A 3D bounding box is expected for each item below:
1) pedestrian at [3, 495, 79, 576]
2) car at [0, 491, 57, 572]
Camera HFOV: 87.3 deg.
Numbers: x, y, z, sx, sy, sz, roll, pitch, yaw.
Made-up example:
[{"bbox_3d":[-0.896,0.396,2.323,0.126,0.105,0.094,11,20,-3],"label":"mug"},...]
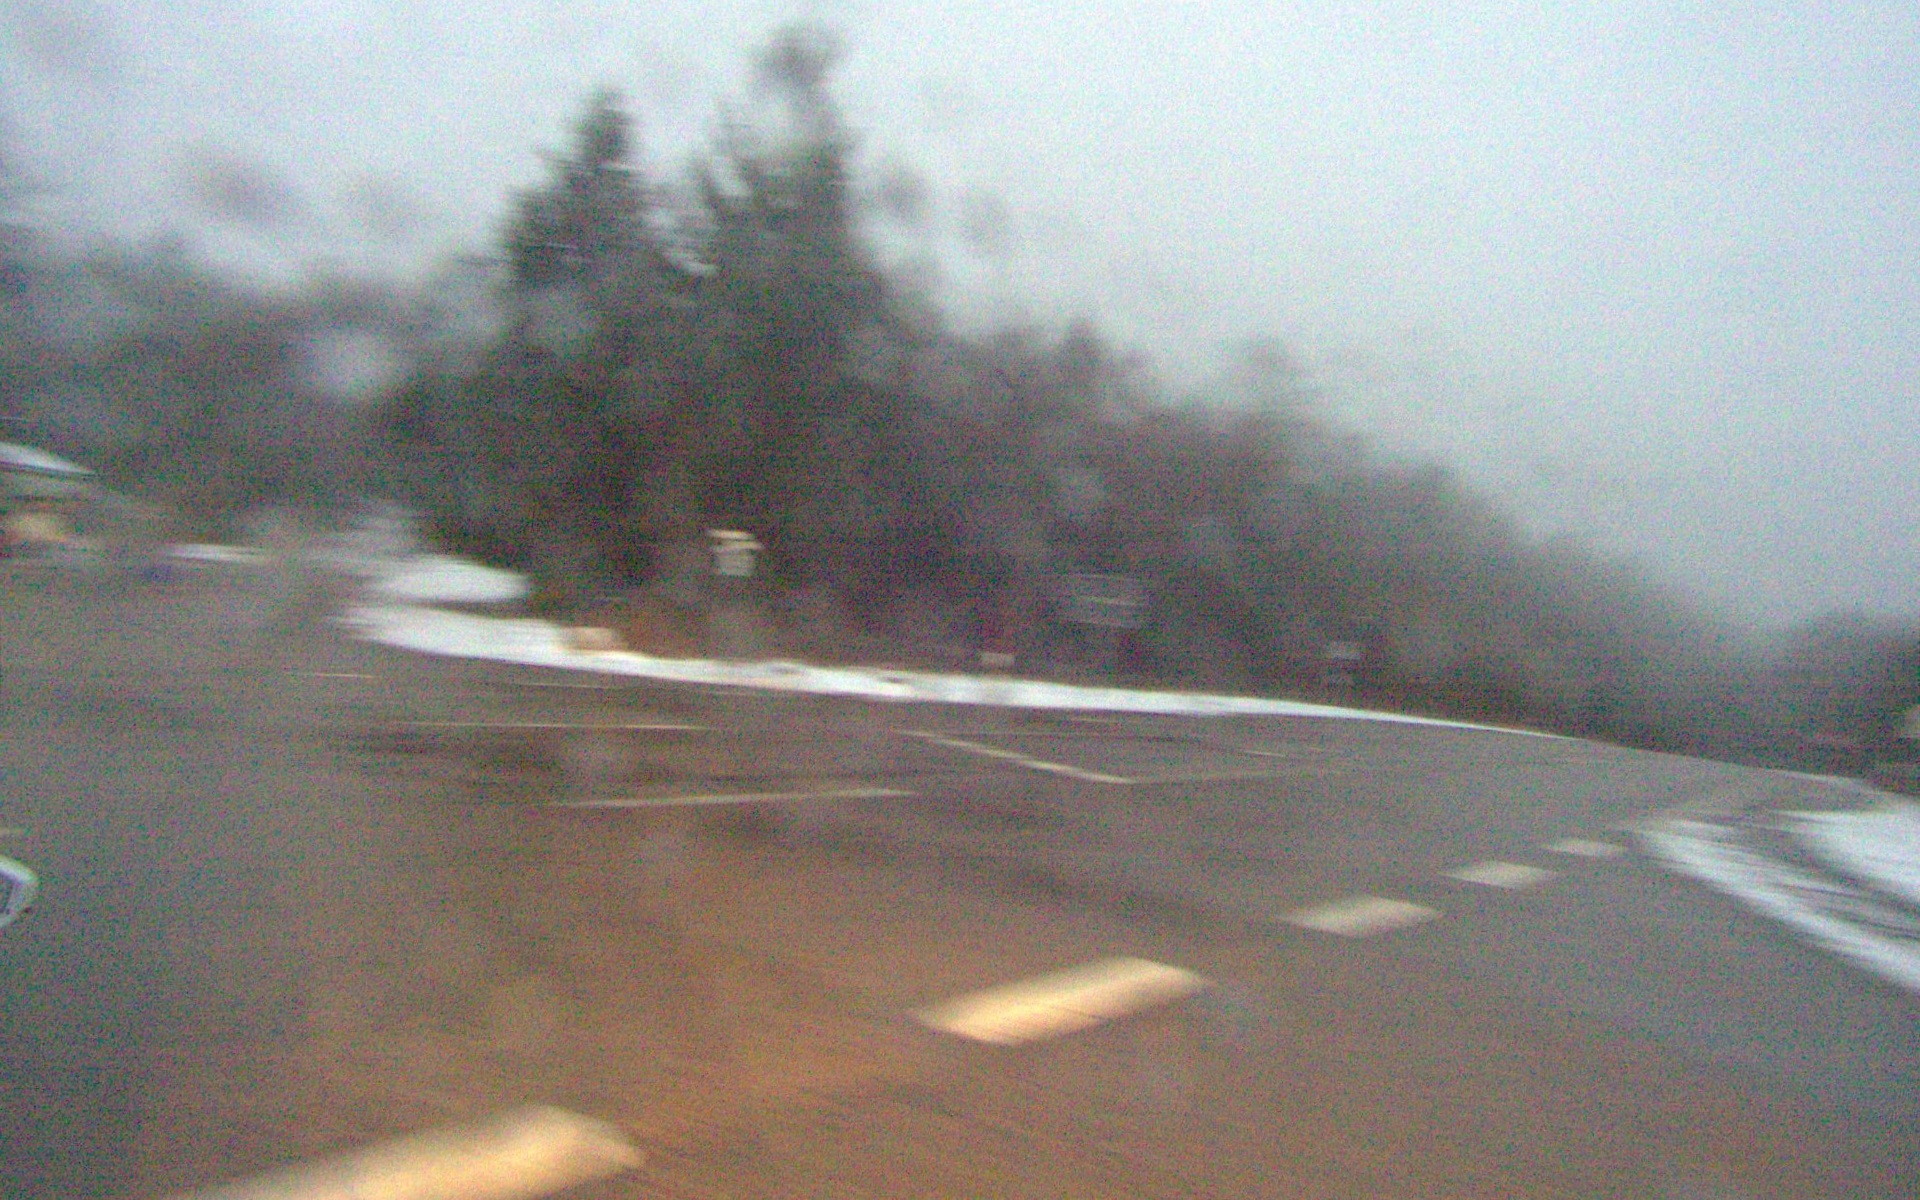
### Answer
[{"bbox_3d":[-23.204,-1.605,25.423,0.950,1.849,0.921,7,-2,-20],"label":"pedestrian"},{"bbox_3d":[-25.539,-1.937,25.071,3.911,1.902,1.990,8,-3,-25],"label":"car"}]
